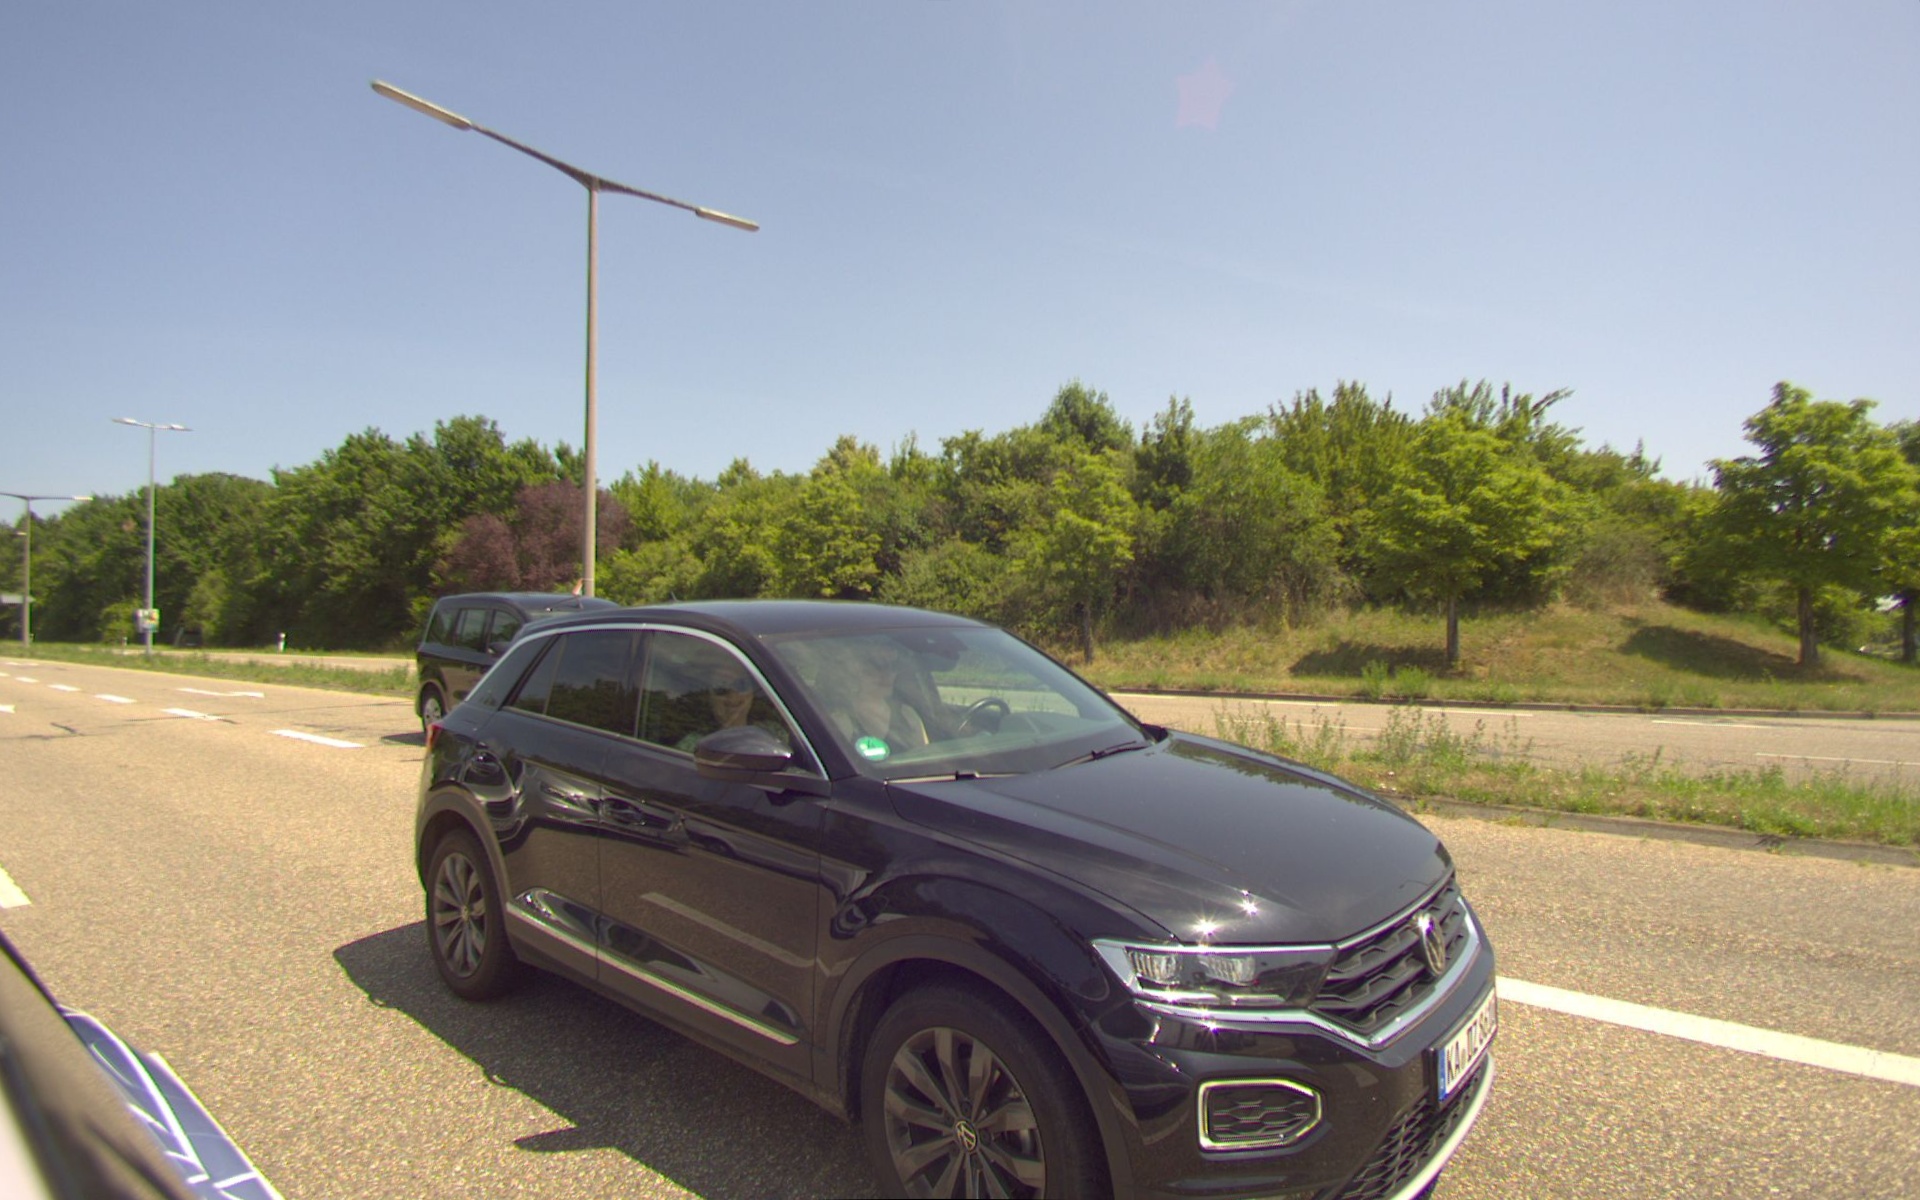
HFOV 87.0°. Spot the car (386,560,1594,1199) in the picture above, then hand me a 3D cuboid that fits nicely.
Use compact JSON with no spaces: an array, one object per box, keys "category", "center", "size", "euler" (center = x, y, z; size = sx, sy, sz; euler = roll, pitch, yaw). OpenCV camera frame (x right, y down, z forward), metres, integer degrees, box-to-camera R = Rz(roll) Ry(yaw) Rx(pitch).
[{"category":"car","center":[-0.292,0.714,3.473],"size":[3.969,1.523,1.716],"euler":[-1,0,41]}]

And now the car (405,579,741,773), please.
[{"category":"car","center":[-4.579,0.785,11.673],"size":[4.317,1.840,1.714],"euler":[-2,-2,39]}]
